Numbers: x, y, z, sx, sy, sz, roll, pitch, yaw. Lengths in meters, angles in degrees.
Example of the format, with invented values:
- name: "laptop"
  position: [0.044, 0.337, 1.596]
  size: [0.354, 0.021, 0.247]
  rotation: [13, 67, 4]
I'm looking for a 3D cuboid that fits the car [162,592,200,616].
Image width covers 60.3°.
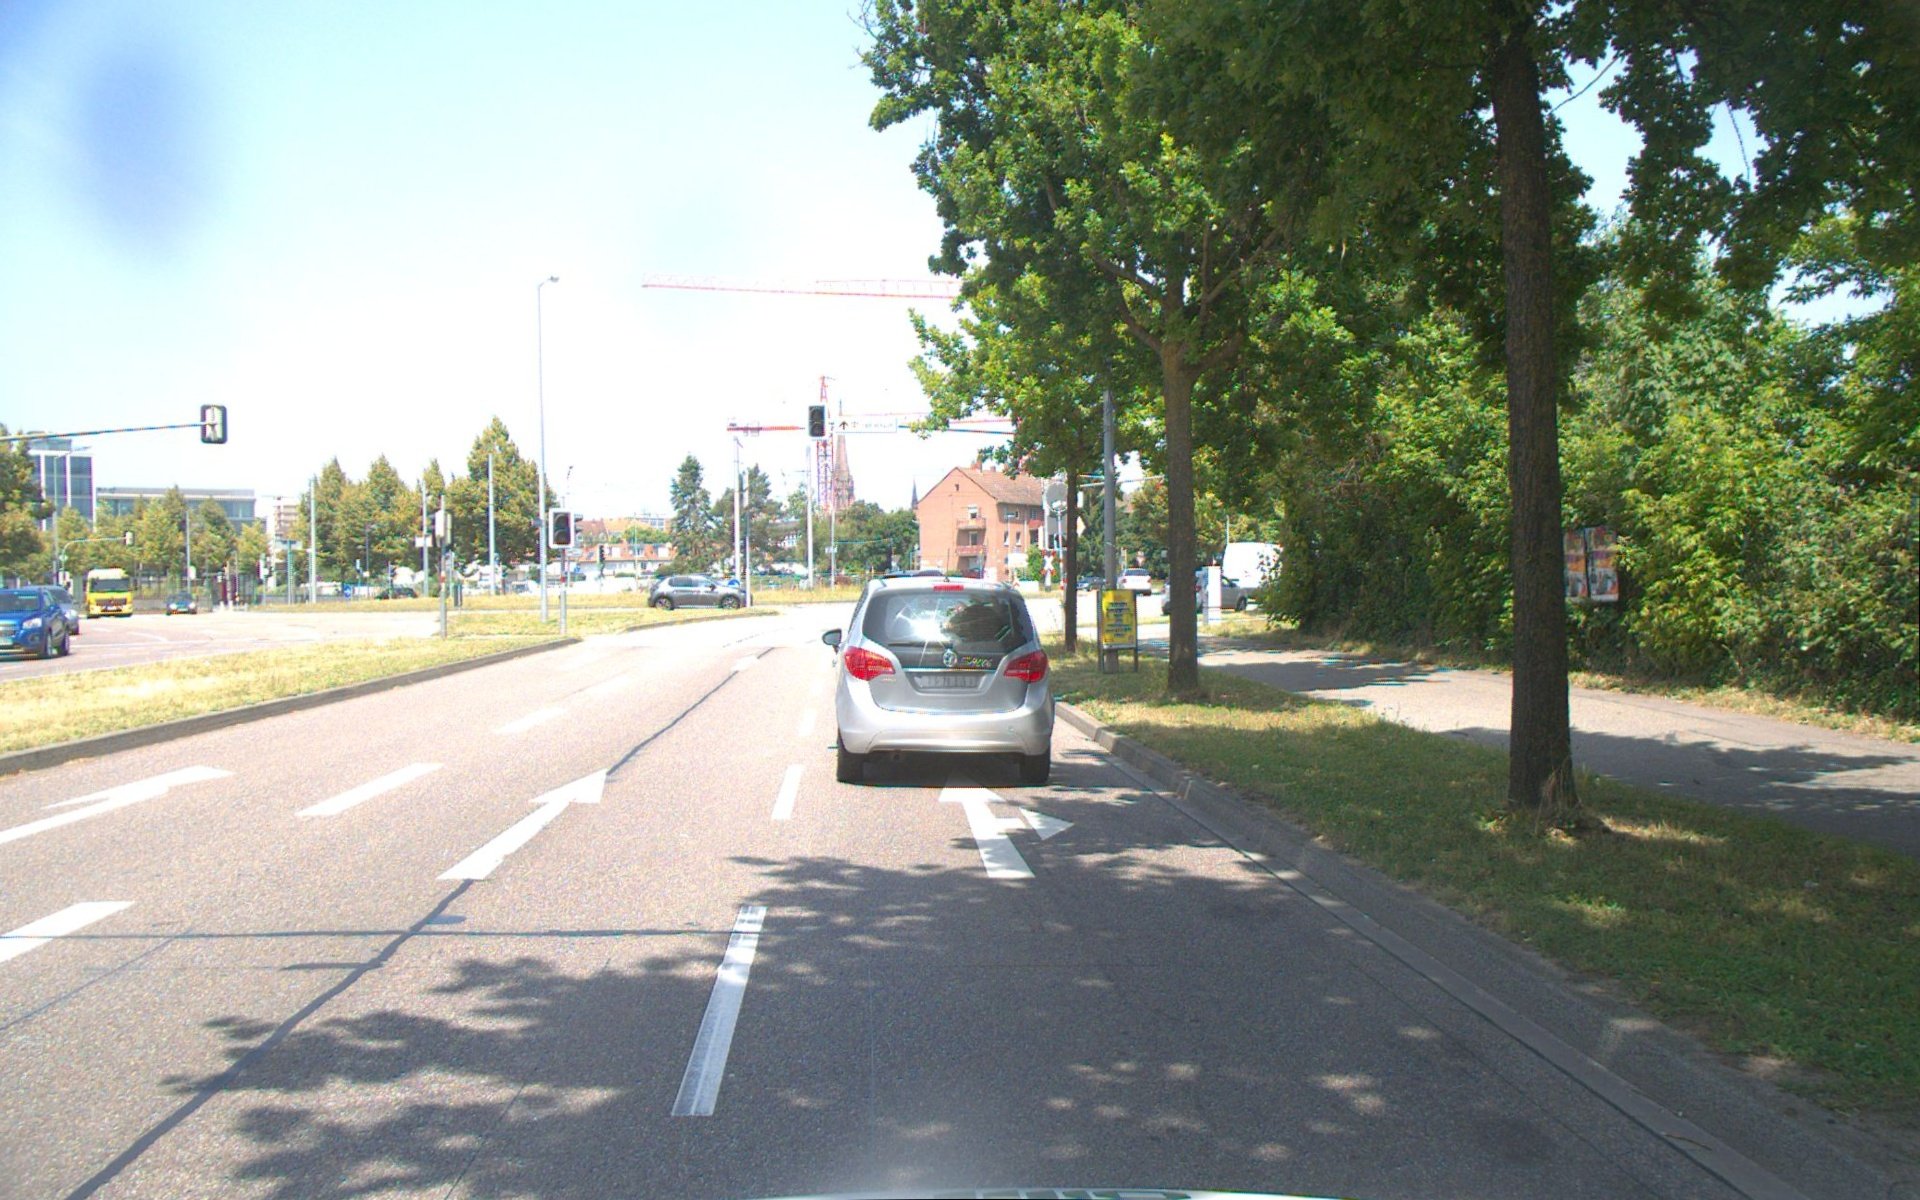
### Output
- name: "car"
  position: [-45.986, 0.226, 97.649]
  size: [1.829, 1.299, 3.963]
  rotation: [-1, 1, -28]

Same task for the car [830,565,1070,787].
- name: "car"
  position: [-0.221, 0.548, 14.241]
  size: [1.757, 1.640, 3.887]
  rotation: [0, 1, -5]

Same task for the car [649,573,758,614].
- name: "car"
  position: [-9.813, -0.240, 63.403]
  size: [3.907, 1.478, 1.999]
  rotation: [-1, 0, -3]

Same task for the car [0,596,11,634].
- name: "car"
  position: [-38.041, 0.597, 64.174]
  size: [1.727, 1.449, 3.792]
  rotation: [-1, 1, -35]

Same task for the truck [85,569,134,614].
- name: "truck"
  position: [-51.695, -0.499, 100.495]
  size: [2.330, 2.640, 6.347]
  rotation: [-1, 1, -30]

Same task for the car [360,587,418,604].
- name: "car"
  position: [-44.828, -0.363, 129.791]
  size: [3.905, 1.310, 2.000]
  rotation: [-1, 1, 21]

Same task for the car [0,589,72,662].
- name: "car"
  position: [-22.480, 0.581, 39.365]
  size: [1.967, 1.624, 3.971]
  rotation: [-1, 1, -23]

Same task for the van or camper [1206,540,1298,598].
- name: "van or camper"
  position: [12.587, -1.329, 71.035]
  size: [2.446, 2.331, 4.913]
  rotation: [-1, 1, 29]

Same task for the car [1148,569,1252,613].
- name: "car"
  position: [8.478, -0.315, 58.207]
  size: [1.913, 1.467, 3.982]
  rotation: [-1, 1, 38]

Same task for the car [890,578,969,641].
- name: "car"
  position: [-0.828, 0.198, 43.776]
  size: [1.973, 1.543, 4.459]
  rotation: [-1, 1, -2]

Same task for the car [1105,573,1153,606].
- name: "car"
  position: [9.126, -0.567, 88.932]
  size: [1.951, 1.678, 4.003]
  rotation: [-1, 1, 15]

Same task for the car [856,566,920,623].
- name: "car"
  position: [-2.276, -0.210, 52.392]
  size: [1.958, 1.719, 4.032]
  rotation: [0, 1, -2]
